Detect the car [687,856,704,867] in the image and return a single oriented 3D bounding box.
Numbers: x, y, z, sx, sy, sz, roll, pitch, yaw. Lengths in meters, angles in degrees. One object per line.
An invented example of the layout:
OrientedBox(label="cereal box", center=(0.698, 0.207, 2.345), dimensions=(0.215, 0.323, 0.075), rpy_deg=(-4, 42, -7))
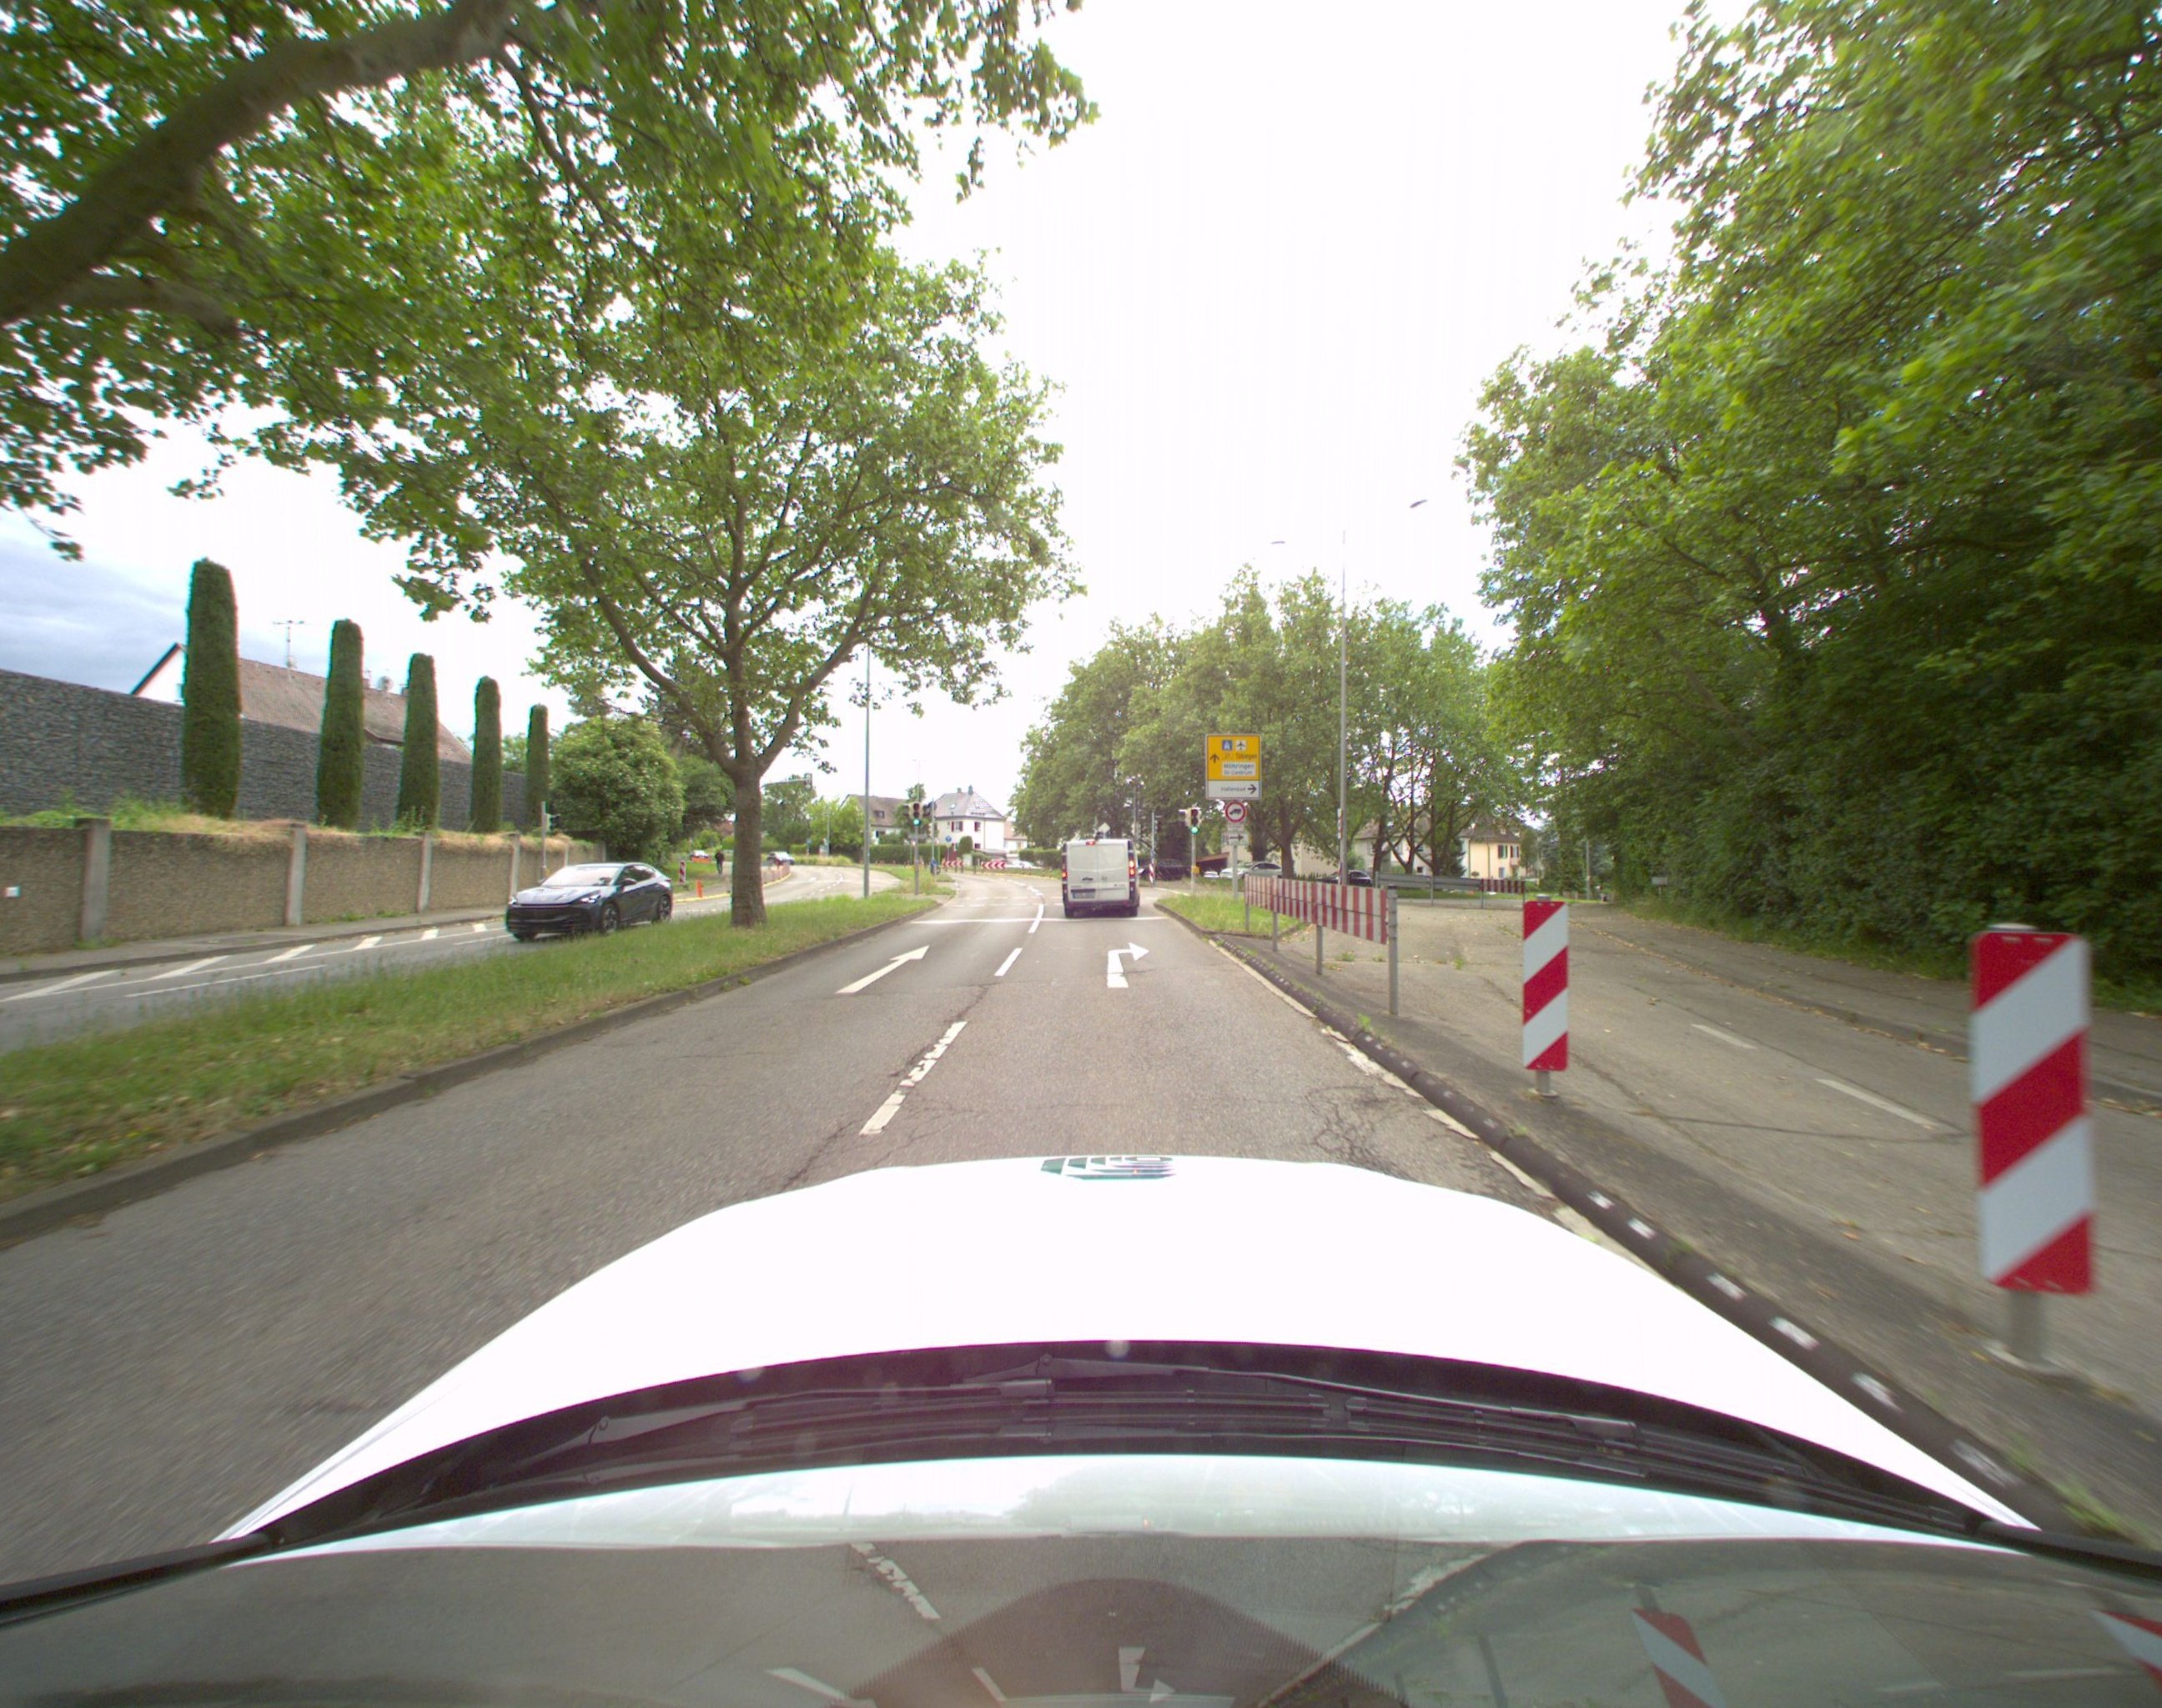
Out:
OrientedBox(label="car", center=(-57.226, 1.134, 120.821), dimensions=(1.900, 1.625, 4.387), rpy_deg=(1, -1, -31))

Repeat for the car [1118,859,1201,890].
OrientedBox(label="car", center=(4.749, 1.229, 49.029), dimensions=(4.763, 1.769, 1.979), rpy_deg=(1, -1, -34))

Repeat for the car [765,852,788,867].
OrientedBox(label="car", center=(-33.897, 0.623, 90.643), dimensions=(1.898, 1.625, 4.391), rpy_deg=(1, -1, -27))

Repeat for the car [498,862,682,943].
OrientedBox(label="car", center=(-10.940, 1.017, 18.584), dimensions=(1.946, 1.625, 4.418), rpy_deg=(0, -1, -8))

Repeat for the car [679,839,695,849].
OrientedBox(label="car", center=(-66.798, -1.647, 138.042), dimensions=(1.900, 1.625, 4.387), rpy_deg=(1, -1, -31))

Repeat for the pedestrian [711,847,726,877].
OrientedBox(label="pedestrian", center=(-24.979, 0.519, 56.098), dimensions=(0.740, 2.013, 0.630), rpy_deg=(2, 1, -15))

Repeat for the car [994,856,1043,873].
OrientedBox(label="car", center=(-6.567, 1.110, 86.108), dimensions=(4.690, 1.769, 2.010), rpy_deg=(0, -1, 20))

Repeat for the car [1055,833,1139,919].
OrientedBox(label="car", center=(0.547, 0.553, 22.241), dimensions=(1.997, 2.038, 5.015), rpy_deg=(-1, -1, 4))

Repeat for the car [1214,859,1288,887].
OrientedBox(label="car", center=(11.126, 1.216, 53.162), dimensions=(4.763, 1.769, 1.979), rpy_deg=(1, -1, -34))

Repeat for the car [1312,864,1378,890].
OrientedBox(label="car", center=(18.870, 1.641, 58.215), dimensions=(4.763, 1.769, 1.979), rpy_deg=(1, -1, -34))

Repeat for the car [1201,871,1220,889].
OrientedBox(label="car", center=(13.787, 2.762, 86.927), dimensions=(1.898, 1.744, 3.778), rpy_deg=(0, -1, 7))
